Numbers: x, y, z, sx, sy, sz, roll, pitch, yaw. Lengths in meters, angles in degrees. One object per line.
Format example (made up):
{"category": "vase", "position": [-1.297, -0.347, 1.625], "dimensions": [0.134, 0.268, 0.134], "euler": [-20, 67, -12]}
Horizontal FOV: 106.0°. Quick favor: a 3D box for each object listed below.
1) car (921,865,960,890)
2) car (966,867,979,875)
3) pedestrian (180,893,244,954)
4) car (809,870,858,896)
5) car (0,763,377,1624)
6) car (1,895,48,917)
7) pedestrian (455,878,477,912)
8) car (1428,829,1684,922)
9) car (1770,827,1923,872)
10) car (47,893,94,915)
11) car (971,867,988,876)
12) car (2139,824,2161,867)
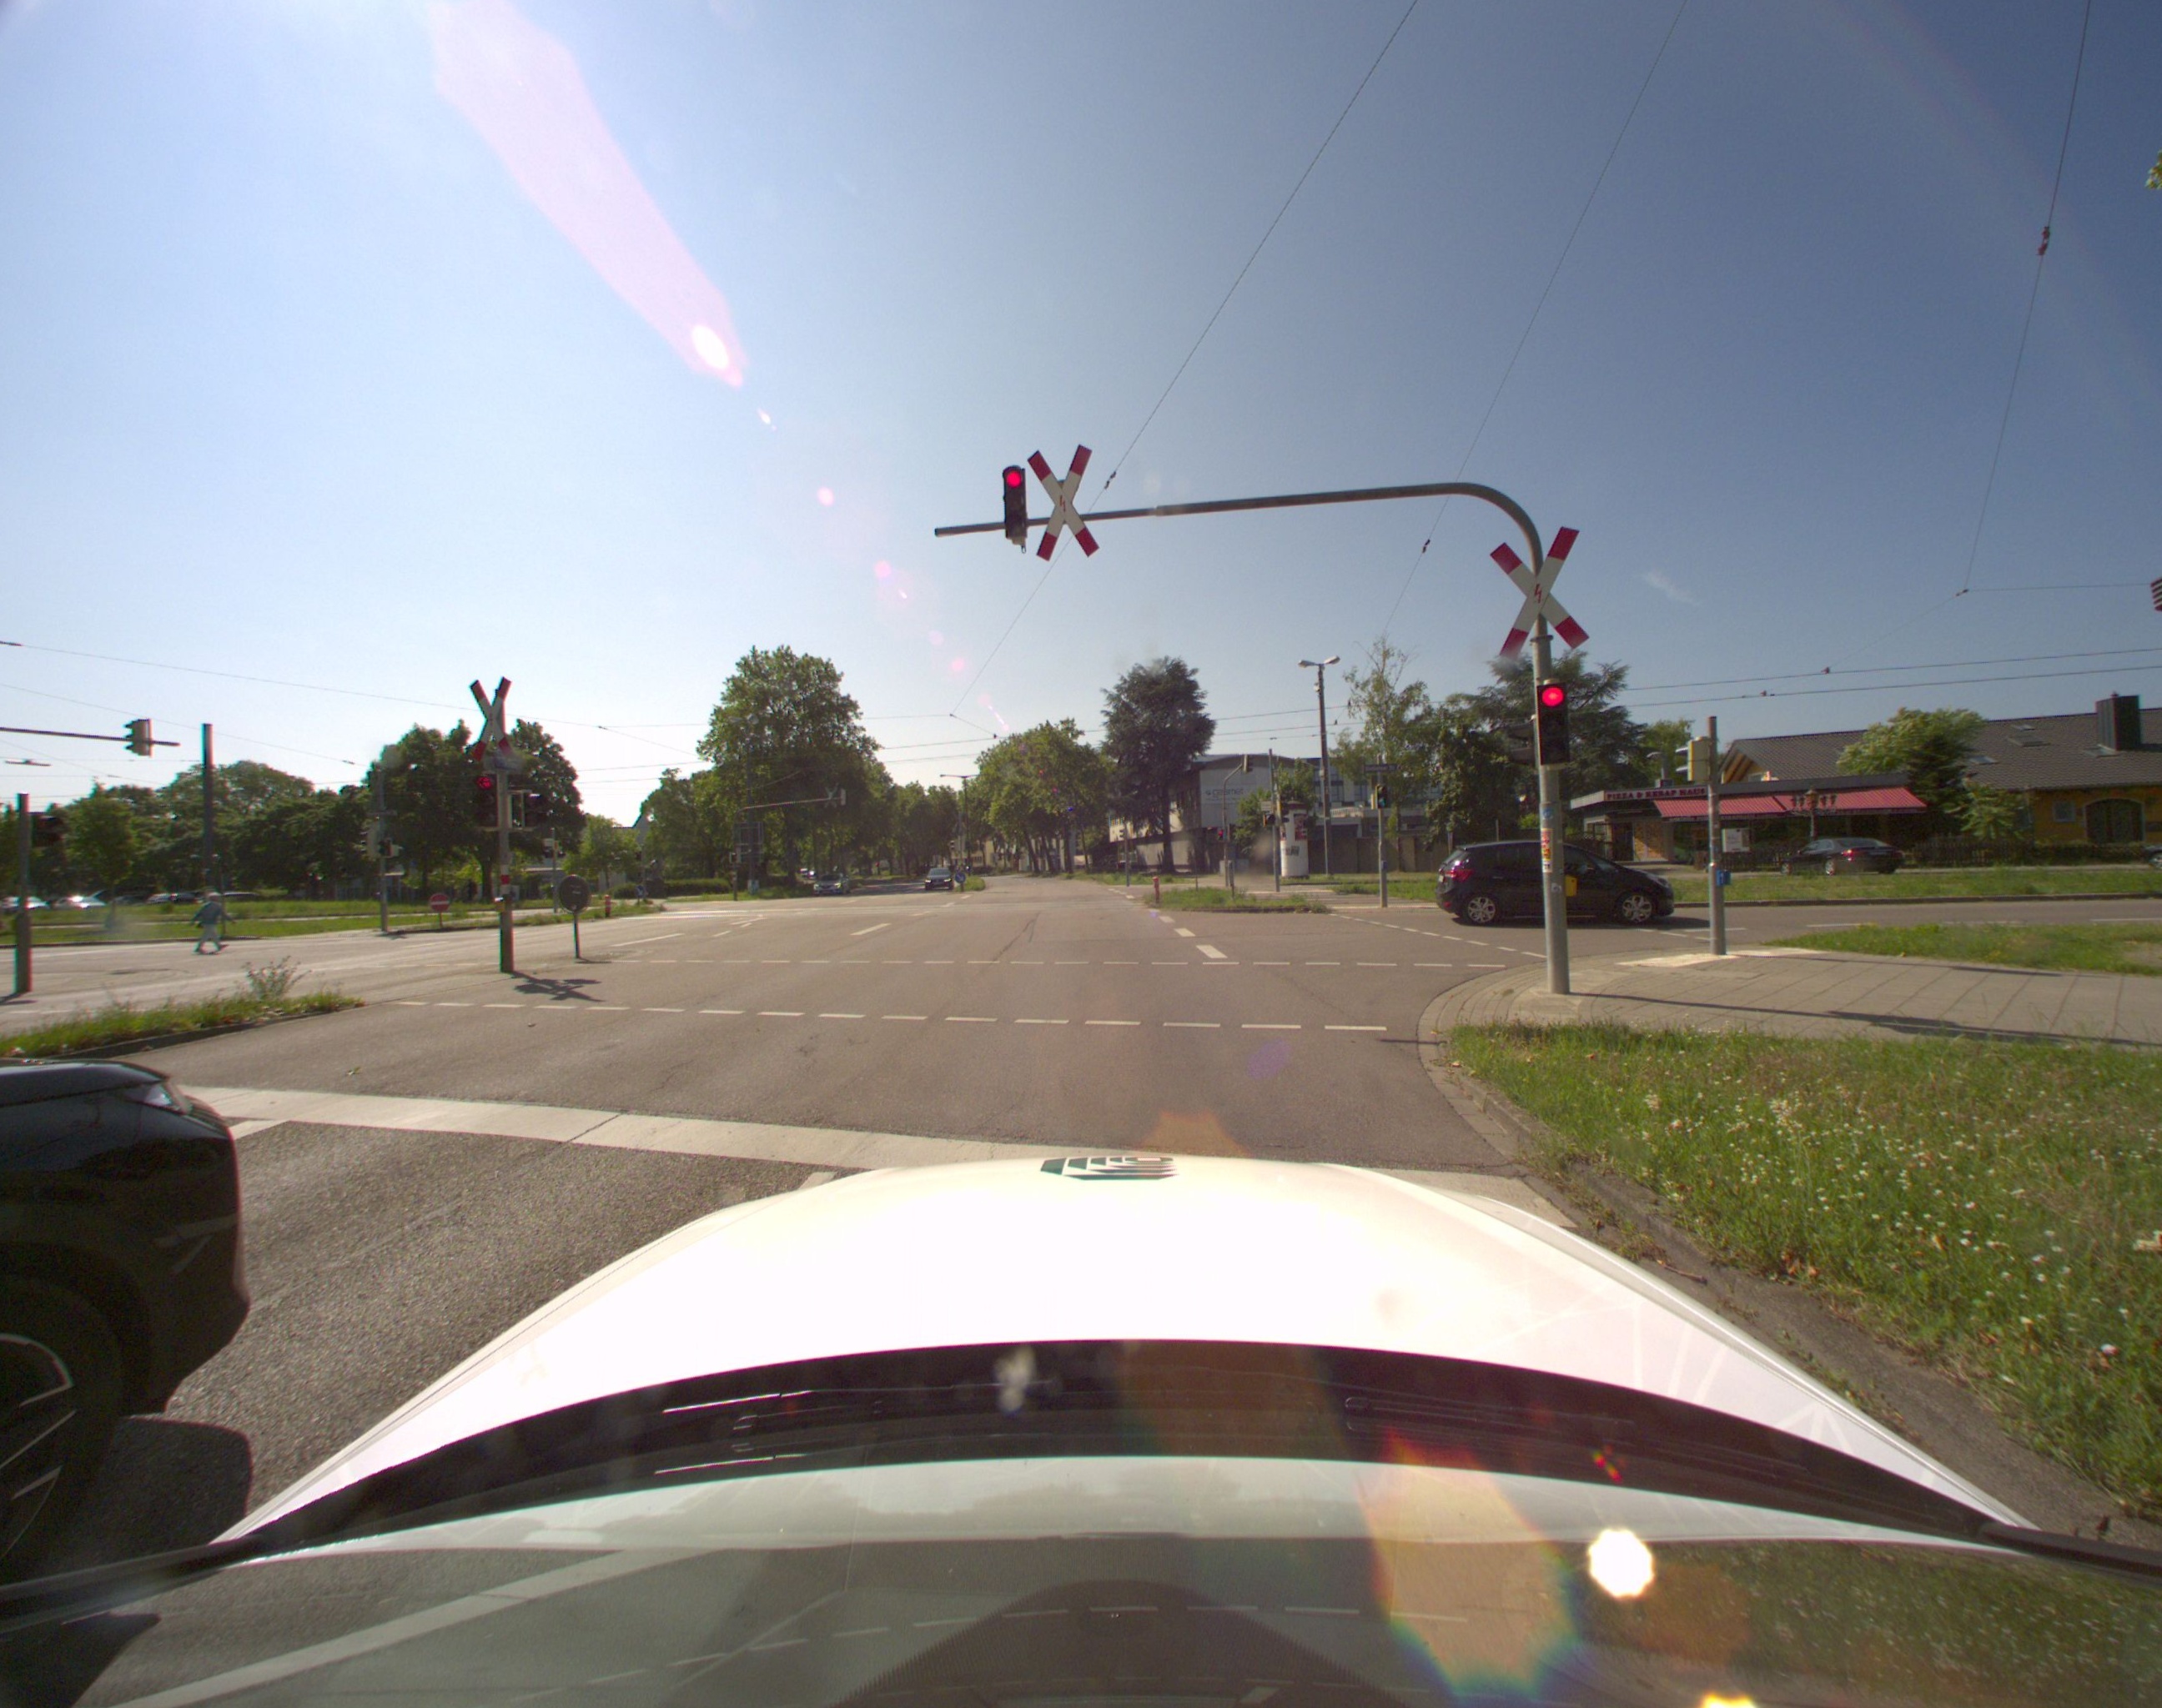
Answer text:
{"category": "car", "position": [-9.263, 1.540, 53.967], "dimensions": [1.687, 1.508, 4.131], "euler": [-2, -1, 2]}
{"category": "car", "position": [-19.905, 3.101, 149.129], "dimensions": [1.712, 1.487, 4.075], "euler": [-2, 0, -18]}
{"category": "pedestrian", "position": [-22.679, 1.794, 21.260], "dimensions": [0.693, 1.501, 0.871], "euler": [-2, -1, 7]}
{"category": "car", "position": [-16.459, 1.913, 54.368], "dimensions": [1.687, 1.508, 4.663], "euler": [-2, -1, 2]}
{"category": "car", "position": [-3.116, 0.672, 0.234], "dimensions": [1.865, 1.696, 4.437], "euler": [-1, 0, 2]}
{"category": "car", "position": [-73.412, 3.631, 56.587], "dimensions": [3.299, 1.446, 1.357], "euler": [-2, -1, 27]}
{"category": "pedestrian", "position": [-36.816, 2.446, 48.768], "dimensions": [0.794, 2.013, 0.709], "euler": [-2, -1, -13]}
{"category": "car", "position": [8.973, 0.408, 15.768], "dimensions": [3.957, 1.655, 1.801], "euler": [-1, 0, 16]}
{"category": "car", "position": [28.887, -0.105, 31.004], "dimensions": [2.119, 1.499, 5.141], "euler": [-2, -2, 17]}
{"category": "car", "position": [-72.418, 3.609, 58.363], "dimensions": [3.299, 1.446, 1.457], "euler": [-2, -1, 27]}
{"category": "car", "position": [-18.035, 3.135, 144.063], "dimensions": [1.714, 1.487, 4.683], "euler": [-3, 0, -22]}
{"category": "car", "position": [38.594, -0.349, 26.753], "dimensions": [2.132, 1.499, 4.199], "euler": [-1, -1, -5]}
